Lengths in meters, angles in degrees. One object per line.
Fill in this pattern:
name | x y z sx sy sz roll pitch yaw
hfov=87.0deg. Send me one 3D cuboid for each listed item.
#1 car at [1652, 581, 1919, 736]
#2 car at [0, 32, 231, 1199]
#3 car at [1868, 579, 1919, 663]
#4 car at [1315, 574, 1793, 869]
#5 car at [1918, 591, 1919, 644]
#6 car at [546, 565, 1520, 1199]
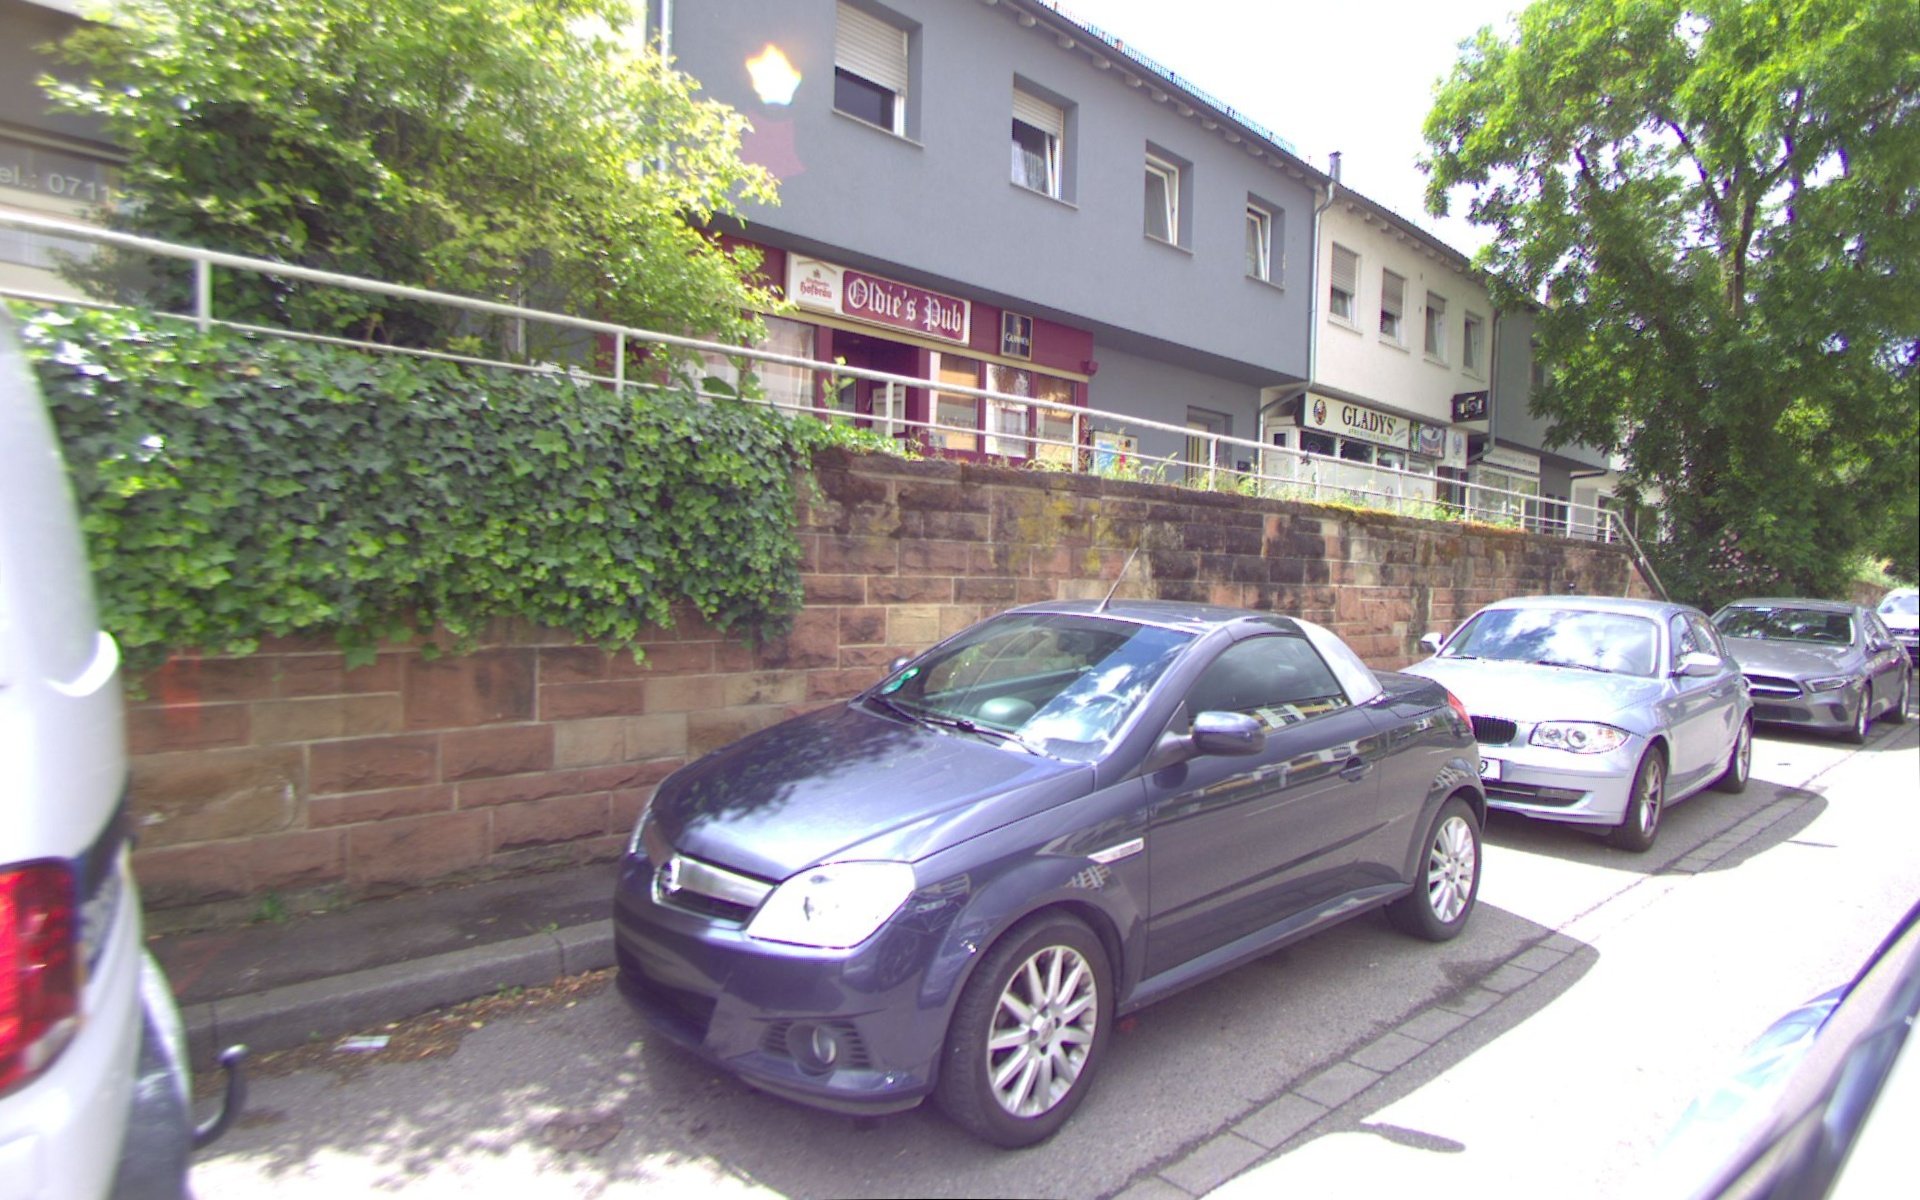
car | 9.652 0.533 11.602 4.073 1.446 1.784 0 2 -40
car | -3.408 0.366 0.431 4.924 1.994 1.977 0 2 -40
car | 21.072 0.419 21.695 4.073 1.674 1.818 0 1 -40
car | 4.441 0.600 7.296 4.074 1.445 1.784 -1 4 -42
car | 28.565 0.497 28.536 4.073 1.446 1.784 0 2 -40
car | 0.547 0.619 3.891 3.668 1.446 1.577 0 2 -40
